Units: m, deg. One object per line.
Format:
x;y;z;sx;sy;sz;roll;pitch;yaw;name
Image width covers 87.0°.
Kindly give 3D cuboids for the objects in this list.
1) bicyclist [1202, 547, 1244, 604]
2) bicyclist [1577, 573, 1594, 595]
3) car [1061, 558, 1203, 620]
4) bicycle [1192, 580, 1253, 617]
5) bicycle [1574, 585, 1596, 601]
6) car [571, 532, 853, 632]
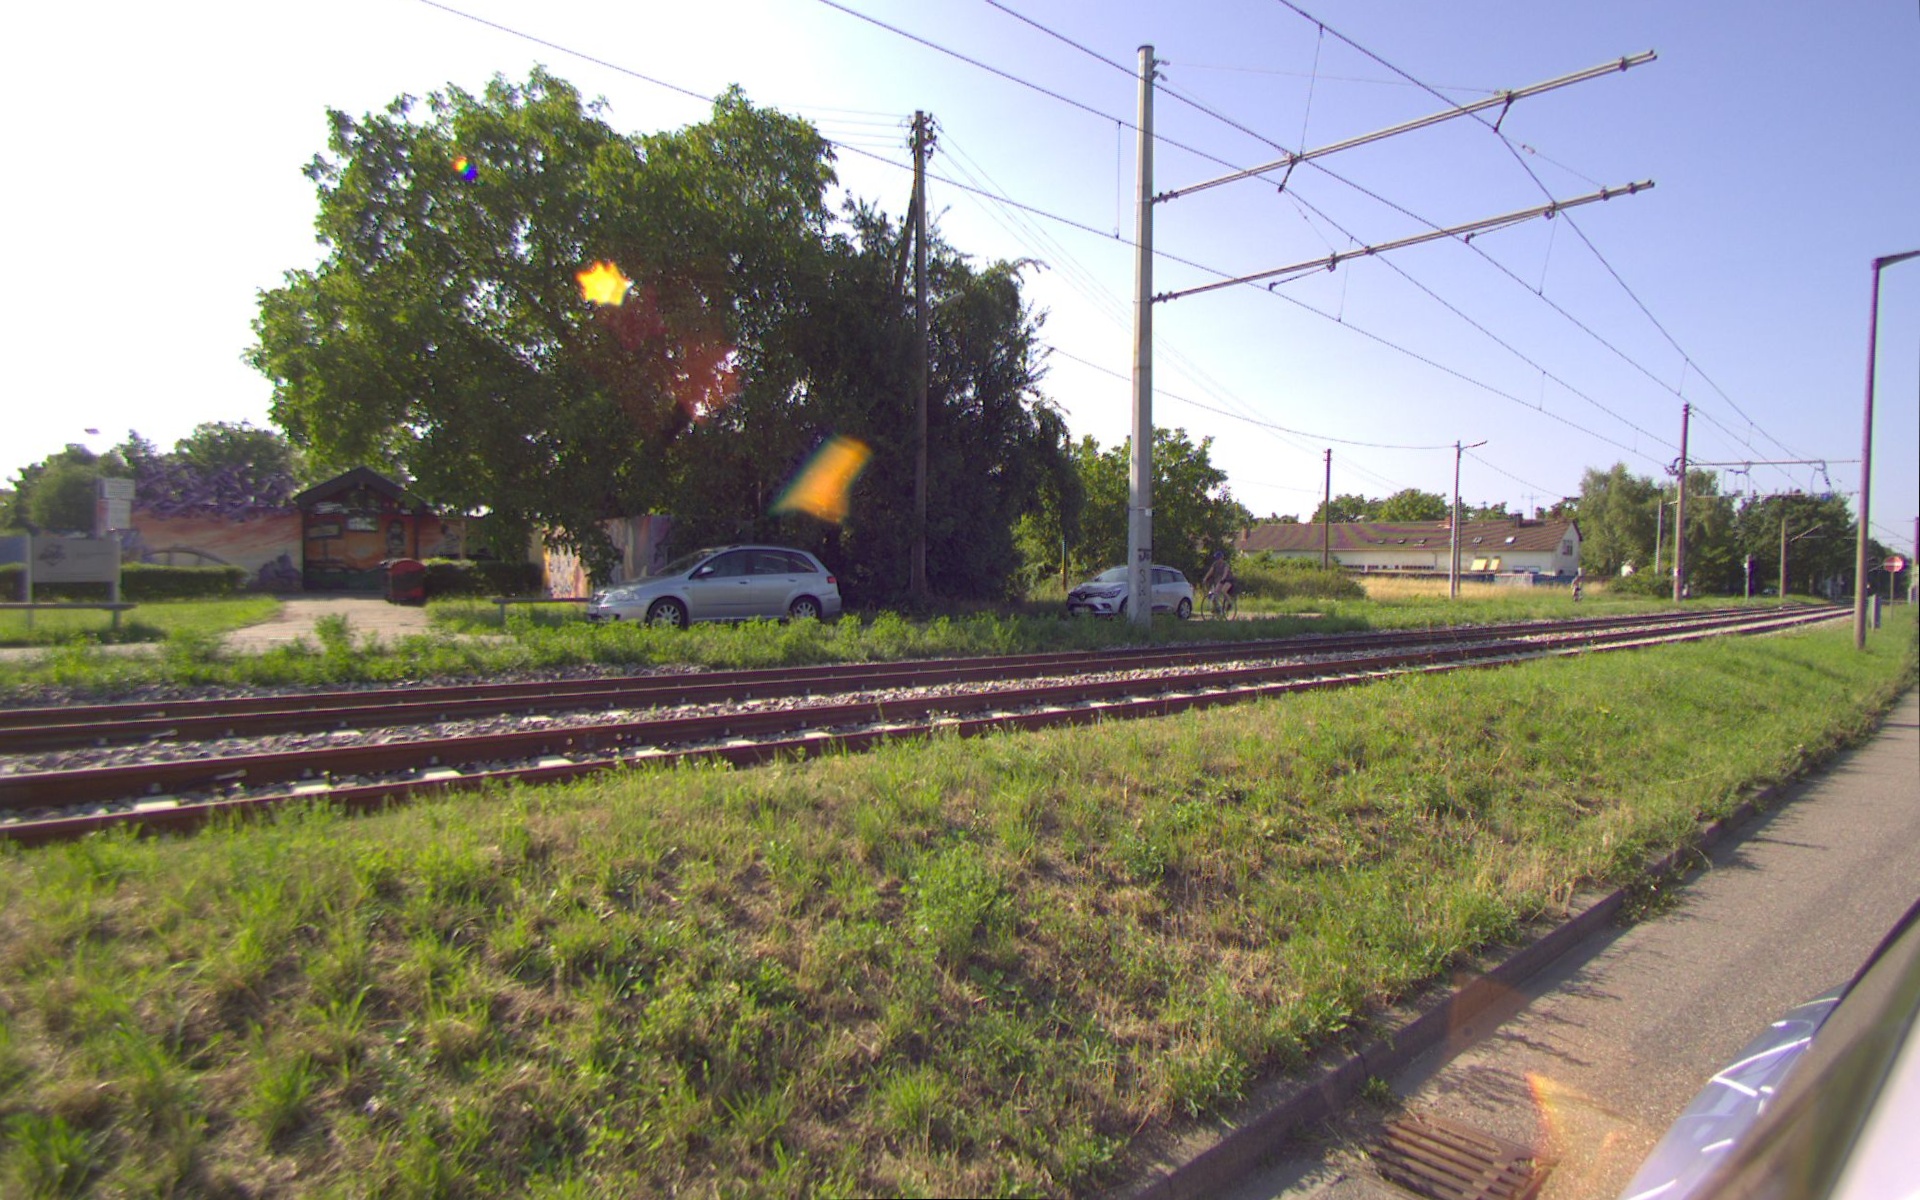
6.766;-0.634;26.054;0.946;1.440;0.630;0;0;-42;bicyclist
36.440;-0.923;58.985;0.778;1.248;0.640;0;0;-42;bicyclist
4.558;-0.297;26.421;4.063;1.466;1.535;0;2;-44;car
6.778;-0.042;26.071;1.812;0.921;0.644;0;1;-42;bicycle
36.469;-0.406;59.018;1.782;0.921;0.643;0;0;-42;bicycle
-4.446;-0.328;18.520;4.640;1.610;1.913;0;2;-38;car
